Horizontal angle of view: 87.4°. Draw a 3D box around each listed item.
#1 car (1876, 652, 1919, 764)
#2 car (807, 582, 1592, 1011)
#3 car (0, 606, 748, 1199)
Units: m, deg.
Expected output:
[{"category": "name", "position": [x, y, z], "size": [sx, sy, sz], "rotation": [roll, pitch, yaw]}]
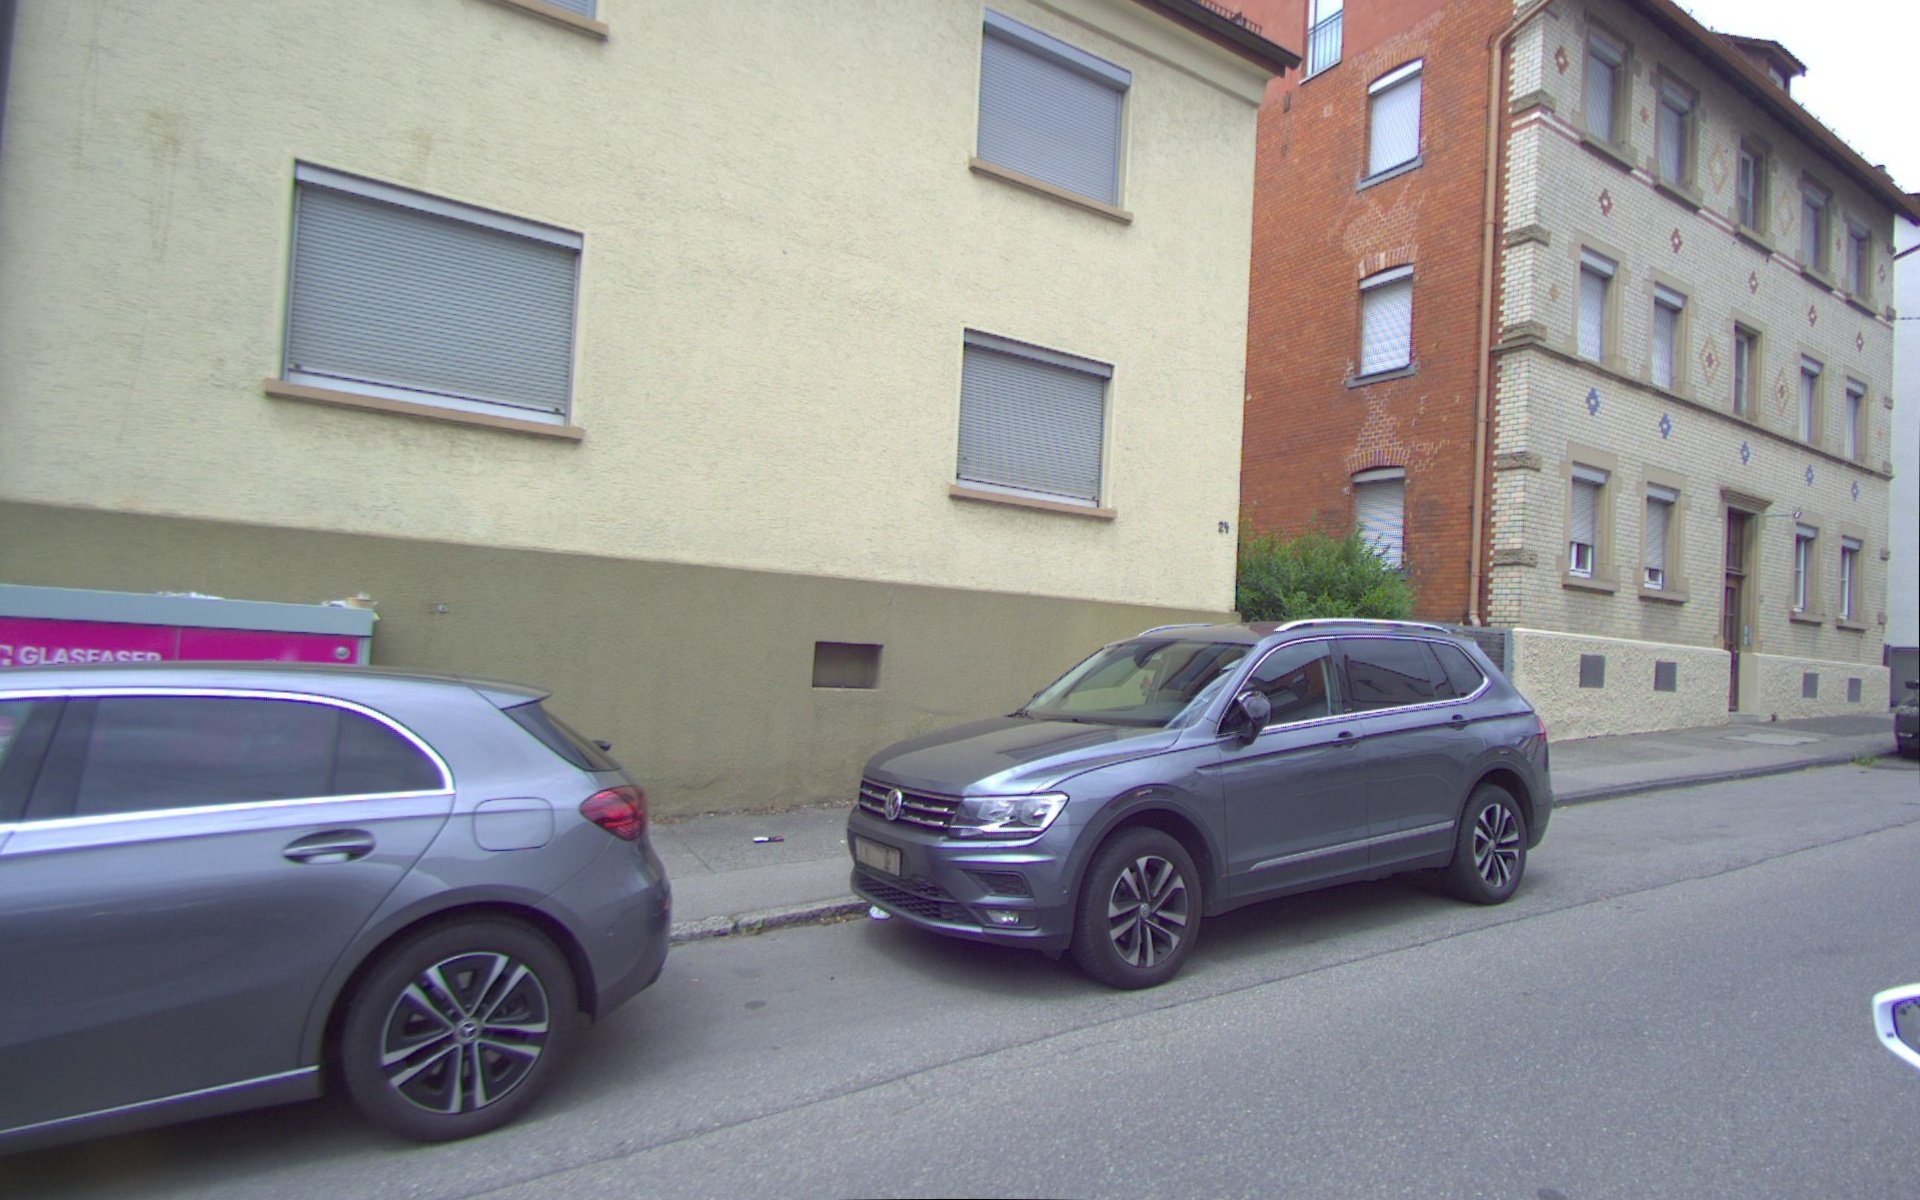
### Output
[{"category": "car", "position": [14.727, 1.471, 14.097], "size": [4.131, 1.492, 1.634], "rotation": [2, -4, -31]}, {"category": "car", "position": [1.557, 0.893, 6.007], "size": [4.504, 1.672, 1.983], "rotation": [2, -5, -32]}, {"category": "car", "position": [-3.028, 0.821, 3.270], "size": [4.194, 1.491, 1.985], "rotation": [2, -5, -30]}]
